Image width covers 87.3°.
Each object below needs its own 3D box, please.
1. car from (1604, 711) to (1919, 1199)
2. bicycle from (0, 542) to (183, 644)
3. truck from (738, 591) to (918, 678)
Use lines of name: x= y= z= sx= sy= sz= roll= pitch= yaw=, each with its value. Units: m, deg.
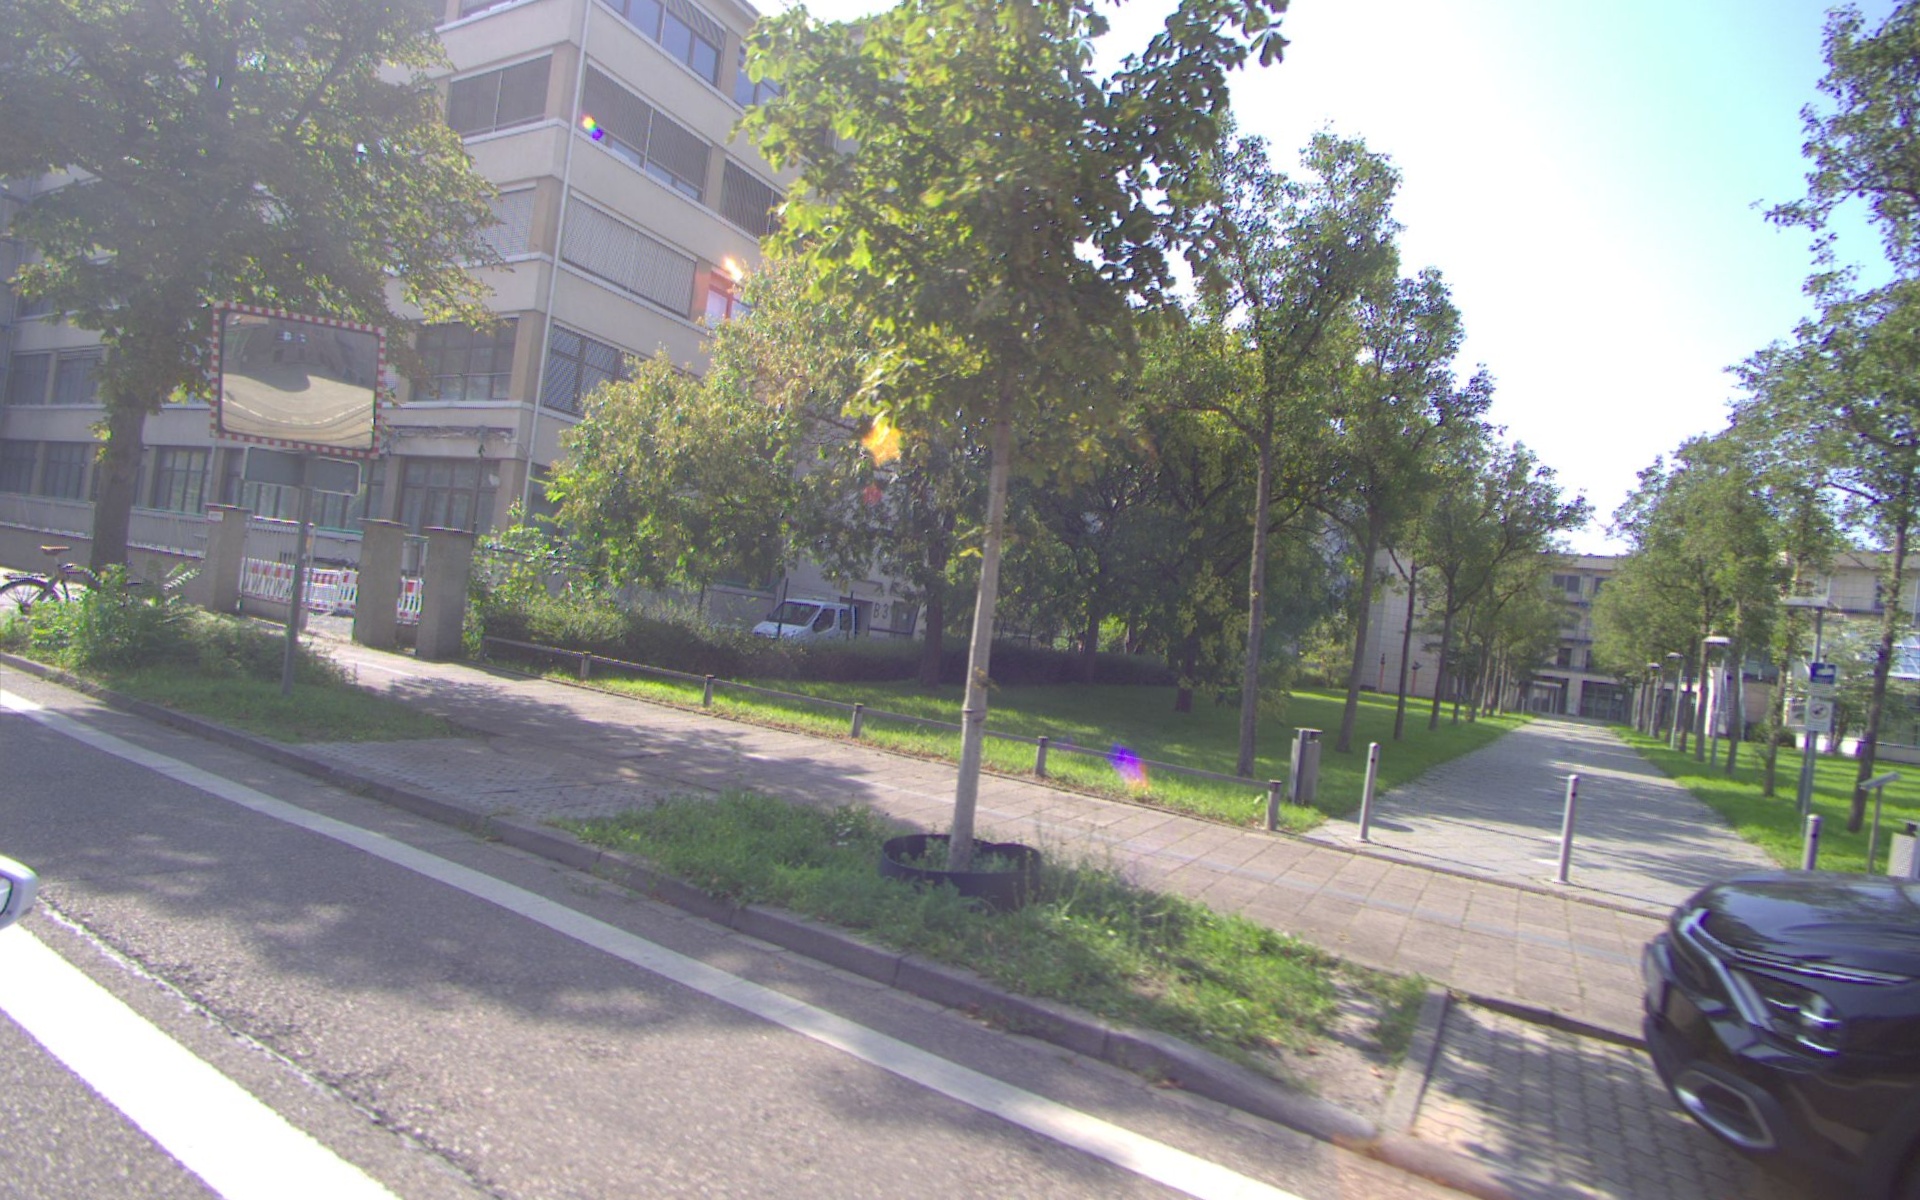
car: x=4.480 y=1.413 z=2.723 sx=4.361 sy=1.504 sz=1.743 roll=7 pitch=0 yaw=30
bicycle: x=-10.620 y=-0.067 z=12.111 sx=0.782 sy=1.077 sz=1.772 roll=6 pitch=0 yaw=29
truck: x=-4.158 y=1.239 z=33.238 sx=2.086 sy=2.240 sz=6.579 roll=6 pitch=-2 yaw=31
